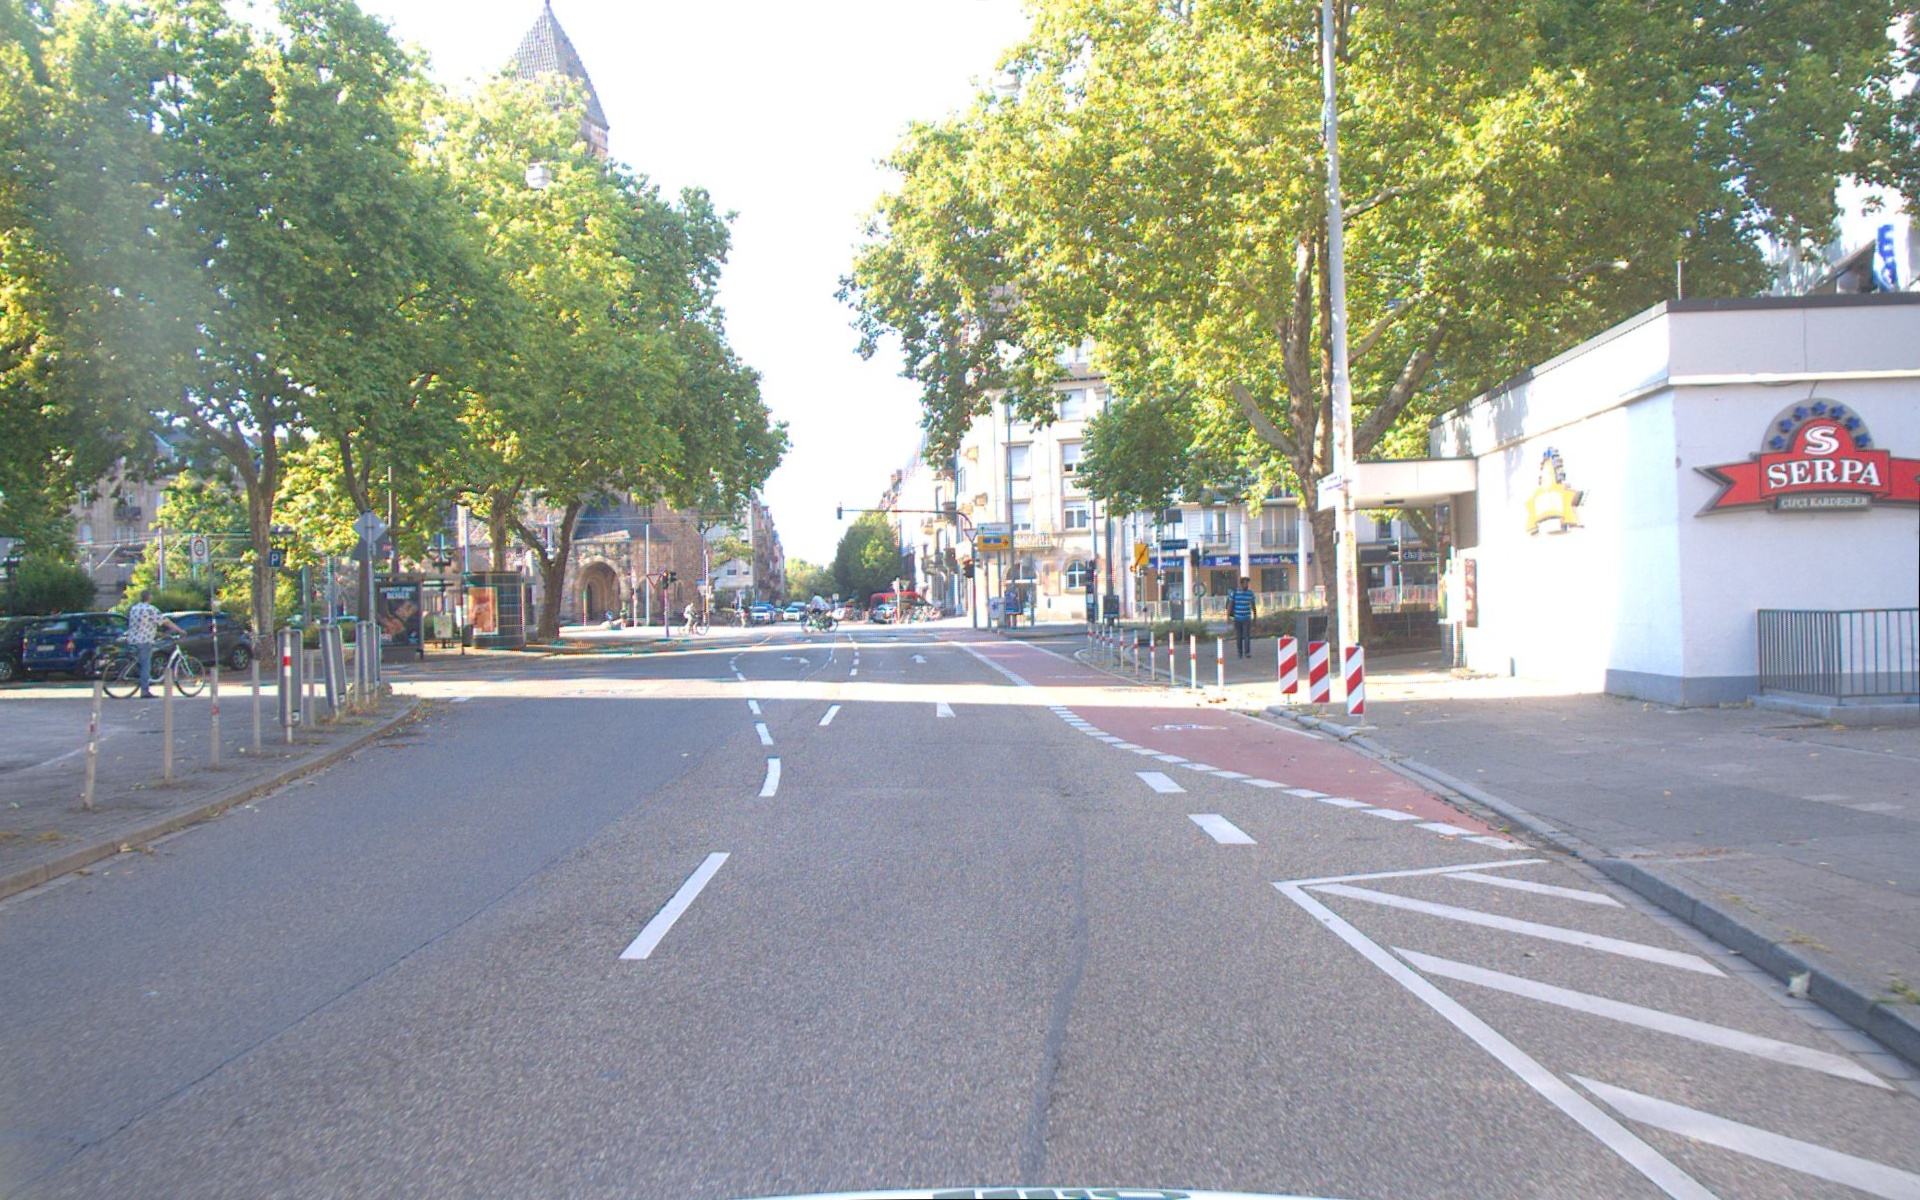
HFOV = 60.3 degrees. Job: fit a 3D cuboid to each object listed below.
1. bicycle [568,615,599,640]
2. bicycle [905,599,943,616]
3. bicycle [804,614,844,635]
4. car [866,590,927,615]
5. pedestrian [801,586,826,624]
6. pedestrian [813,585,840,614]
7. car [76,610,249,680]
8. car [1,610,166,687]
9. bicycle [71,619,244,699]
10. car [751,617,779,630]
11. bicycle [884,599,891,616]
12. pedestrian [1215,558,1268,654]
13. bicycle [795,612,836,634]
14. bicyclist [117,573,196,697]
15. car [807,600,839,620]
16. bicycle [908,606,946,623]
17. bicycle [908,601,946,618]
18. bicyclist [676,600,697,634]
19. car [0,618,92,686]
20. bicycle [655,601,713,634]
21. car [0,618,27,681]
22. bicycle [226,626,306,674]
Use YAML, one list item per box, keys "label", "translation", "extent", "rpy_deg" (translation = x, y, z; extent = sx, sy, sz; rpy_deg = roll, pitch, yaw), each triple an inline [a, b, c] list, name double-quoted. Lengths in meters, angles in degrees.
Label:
- label: "bicycle"
  translation: [-27.461, 2.040, 120.730]
  extent: [1.259, 1.780, 3.999]
  rpy_deg: [1, -1, 0]
- label: "bicycle"
  translation: [-2.628, 0.551, 121.905]
  extent: [2.750, 1.224, 0.509]
  rpy_deg: [1, 5, -8]
- label: "bicycle"
  translation: [-6.373, 1.150, 77.527]
  extent: [1.744, 0.911, 0.751]
  rpy_deg: [-1, 0, 17]
- label: "car"
  translation: [-5.333, 0.221, 139.713]
  extent: [4.957, 2.049, 2.135]
  rpy_deg: [2, -2, -40]
- label: "pedestrian"
  translation: [-6.750, 0.241, 76.194]
  extent: [0.971, 1.738, 0.628]
  rpy_deg: [0, -1, 23]
- label: "pedestrian"
  translation: [-6.243, -0.026, 77.528]
  extent: [1.026, 1.300, 0.792]
  rpy_deg: [0, -1, 17]
- label: "car"
  translation: [-19.197, 1.055, 39.960]
  extent: [1.713, 1.544, 3.652]
  rpy_deg: [-2, 0, 17]
- label: "car"
  translation: [-21.902, 1.182, 41.518]
  extent: [1.834, 1.646, 4.002]
  rpy_deg: [-1, 2, 3]
- label: "bicycle"
  translation: [-13.570, 0.989, 28.044]
  extent: [0.990, 1.286, 2.476]
  rpy_deg: [0, -1, 33]
- label: "car"
  translation: [-18.145, 2.163, 154.059]
  extent: [1.560, 1.164, 3.386]
  rpy_deg: [0, -1, 14]
- label: "bicycle"
  translation: [-5.364, 0.554, 122.428]
  extent: [0.498, 1.225, 2.090]
  rpy_deg: [1, -1, -2]
- label: "pedestrian"
  translation: [6.265, 0.149, 36.895]
  extent: [0.810, 2.048, 1.152]
  rpy_deg: [-4, -1, -1]
- label: "bicycle"
  translation: [-6.662, 1.050, 76.150]
  extent: [1.747, 0.999, 0.656]
  rpy_deg: [0, -1, 23]
- label: "bicyclist"
  translation: [-13.593, 0.592, 27.983]
  extent: [0.957, 2.049, 0.795]
  rpy_deg: [0, -2, 34]
- label: "car"
  translation: [-10.652, 0.791, 128.507]
  extent: [1.553, 1.488, 3.186]
  rpy_deg: [0, -1, 12]
- label: "bicycle"
  translation: [-2.385, 1.060, 119.587]
  extent: [2.750, 1.225, 0.509]
  rpy_deg: [1, -1, -8]
- label: "bicycle"
  translation: [-2.413, 0.676, 121.063]
  extent: [2.750, 1.225, 0.516]
  rpy_deg: [1, -1, -8]
- label: "bicyclist"
  translation: [-13.964, 0.873, 84.428]
  extent: [0.785, 1.685, 0.935]
  rpy_deg: [0, -1, 7]
- label: "car"
  translation: [-23.956, 1.280, 41.736]
  extent: [1.834, 1.646, 4.001]
  rpy_deg: [1, -1, 3]
- label: "bicycle"
  translation: [-14.106, 0.895, 84.450]
  extent: [2.781, 1.685, 0.831]
  rpy_deg: [0, -1, 7]
- label: "car"
  translation: [-26.183, 1.272, 42.636]
  extent: [1.834, 1.646, 4.001]
  rpy_deg: [1, -1, 3]
- label: "bicycle"
  translation: [-17.762, 1.259, 42.406]
  extent: [0.703, 1.166, 3.291]
  rpy_deg: [1, -1, -1]
